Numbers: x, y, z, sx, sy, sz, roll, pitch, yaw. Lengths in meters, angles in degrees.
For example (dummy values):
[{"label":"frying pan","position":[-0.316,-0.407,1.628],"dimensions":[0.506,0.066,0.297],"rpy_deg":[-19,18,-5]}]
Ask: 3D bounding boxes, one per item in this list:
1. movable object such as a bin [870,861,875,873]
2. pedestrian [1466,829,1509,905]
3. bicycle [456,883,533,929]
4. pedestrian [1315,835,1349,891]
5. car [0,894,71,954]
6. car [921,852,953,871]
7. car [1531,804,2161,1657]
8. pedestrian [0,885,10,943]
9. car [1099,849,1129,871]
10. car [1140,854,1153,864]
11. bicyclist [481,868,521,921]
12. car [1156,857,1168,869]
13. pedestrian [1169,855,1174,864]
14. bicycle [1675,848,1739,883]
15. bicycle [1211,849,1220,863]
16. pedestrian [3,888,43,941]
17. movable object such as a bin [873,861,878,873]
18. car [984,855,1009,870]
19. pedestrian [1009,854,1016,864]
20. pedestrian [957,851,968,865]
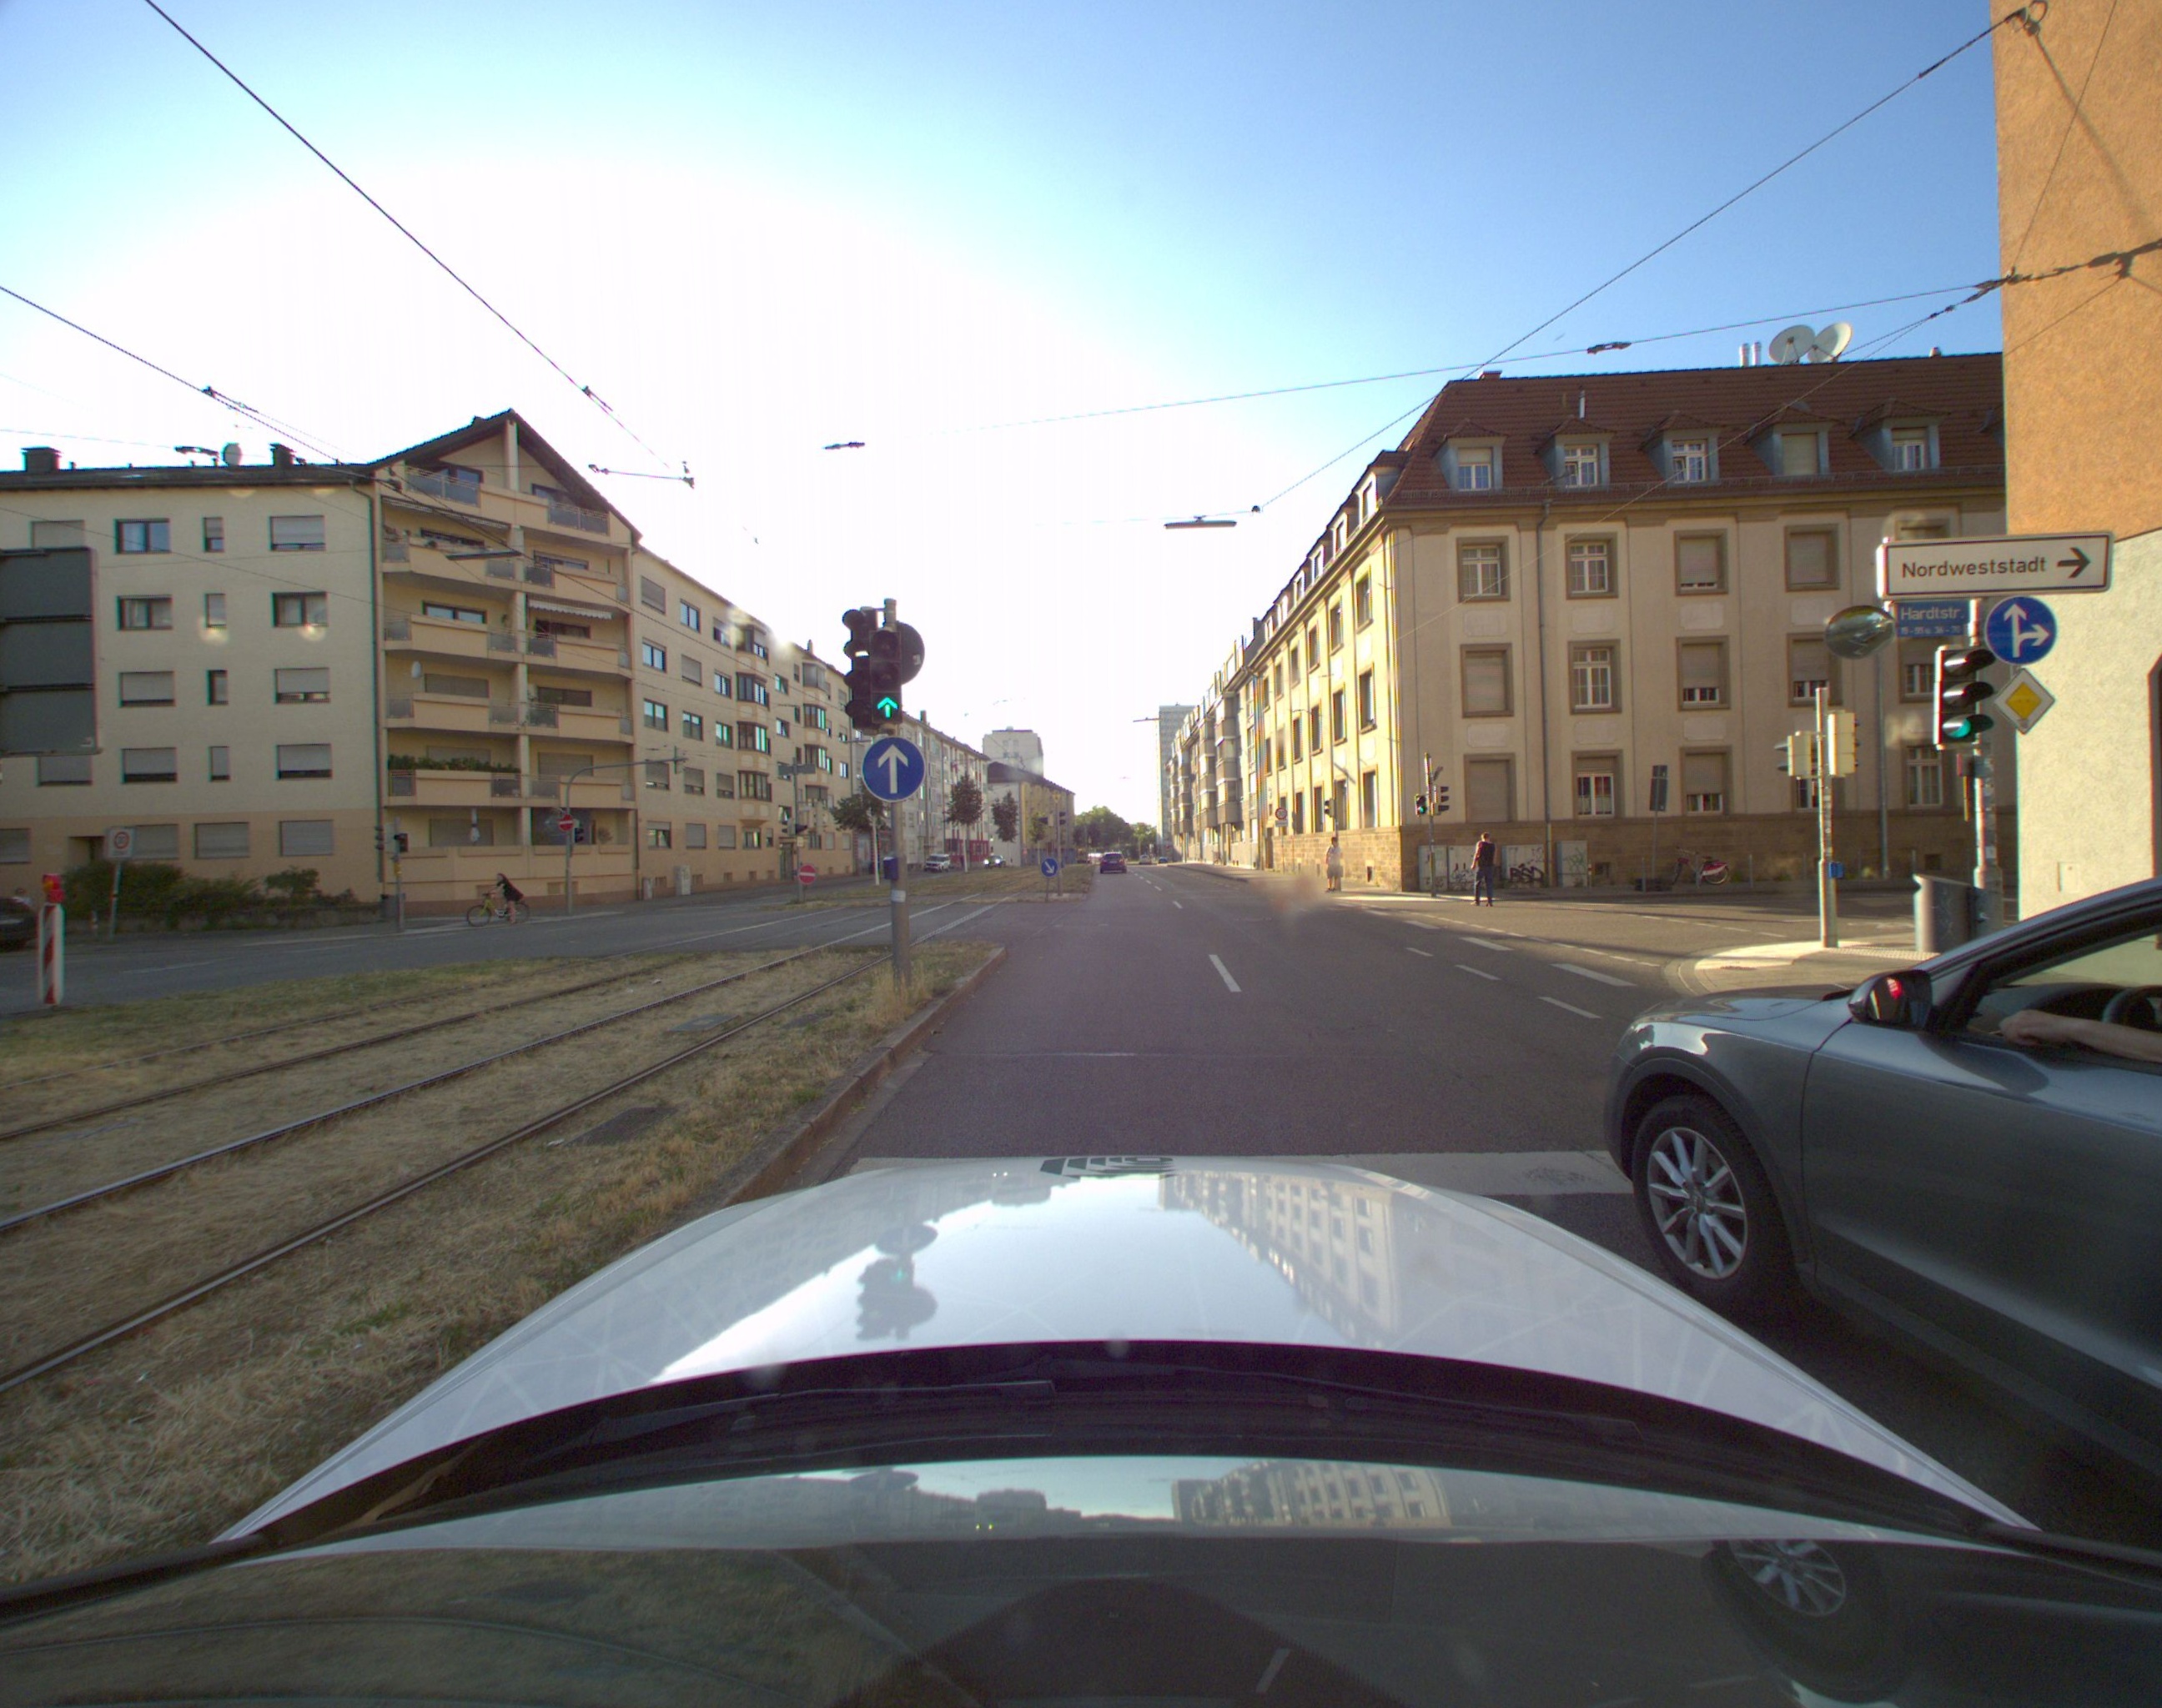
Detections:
[{"label":"movable object such as a bin","position":[-17.541,1.116,68.663],"dimensions":[0.297,1.036,0.441],"rpy_deg":[0,-1,1]},{"label":"pedestrian","position":[9.643,0.310,19.338],"dimensions":[0.627,1.758,0.826],"rpy_deg":[0,-1,1]},{"label":"bicycle","position":[-18.214,1.587,25.321],"dimensions":[0.450,1.257,1.883],"rpy_deg":[-1,1,34]},{"label":"pedestrian","position":[8.102,0.294,26.325],"dimensions":[0.832,1.762,0.824],"rpy_deg":[0,-1,1]},{"label":"car","position":[-30.192,1.985,21.545],"dimensions":[3.983,1.442,1.996],"rpy_deg":[-3,2,-7]},{"label":"car","position":[-14.498,0.758,82.221],"dimensions":[1.984,1.925,4.548],"rpy_deg":[0,-1,5]},{"label":"car","position":[2.813,0.683,1.556],"dimensions":[1.691,1.552,4.227],"rpy_deg":[0,0,2]},{"label":"pedestrian","position":[-32.462,1.796,24.233],"dimensions":[0.587,1.705,0.464],"rpy_deg":[-1,-1,7]},{"label":"car","position":[2.233,0.410,55.669],"dimensions":[1.919,1.456,4.328],"rpy_deg":[0,-1,1]},{"label":"car","position":[9.989,0.811,124.931],"dimensions":[1.985,1.564,4.004],"rpy_deg":[0,-1,4]},{"label":"bicyclist","position":[-18.118,1.260,25.444],"dimensions":[0.620,1.586,0.814],"rpy_deg":[-1,0,35]},{"label":"car","position":[15.401,1.691,154.383],"dimensions":[1.986,2.013,4.002],"rpy_deg":[-2,0,2]},{"label":"pedestrian","position":[12.743,0.783,114.740],"dimensions":[0.689,1.234,0.736],"rpy_deg":[0,-1,1]},{"label":"bicycle","position":[18.429,0.334,24.001],"dimensions":[1.491,1.018,0.251],"rpy_deg":[-1,-1,17]},{"label":"bicycle","position":[10.268,0.163,62.008],"dimensions":[0.382,1.096,1.503],"rpy_deg":[-2,-1,0]},{"label":"pedestrian","position":[-32.281,1.839,24.842],"dimensions":[0.546,1.552,0.517],"rpy_deg":[-1,0,7]},{"label":"movable object such as a bin","position":[-17.467,1.109,69.304],"dimensions":[0.297,1.036,0.441],"rpy_deg":[0,-1,1]},{"label":"car","position":[-9.972,1.033,96.494],"dimensions":[1.888,1.633,4.754],"rpy_deg":[-2,0,5]},{"label":"pedestrian","position":[-10.846,0.771,128.379],"dimensions":[0.957,1.670,1.013],"rpy_deg":[-1,-1,7]},{"label":"pedestrian","position":[-14.746,0.496,101.603],"dimensions":[1.268,1.761,1.271],"rpy_deg":[0,-1,-8]}]
